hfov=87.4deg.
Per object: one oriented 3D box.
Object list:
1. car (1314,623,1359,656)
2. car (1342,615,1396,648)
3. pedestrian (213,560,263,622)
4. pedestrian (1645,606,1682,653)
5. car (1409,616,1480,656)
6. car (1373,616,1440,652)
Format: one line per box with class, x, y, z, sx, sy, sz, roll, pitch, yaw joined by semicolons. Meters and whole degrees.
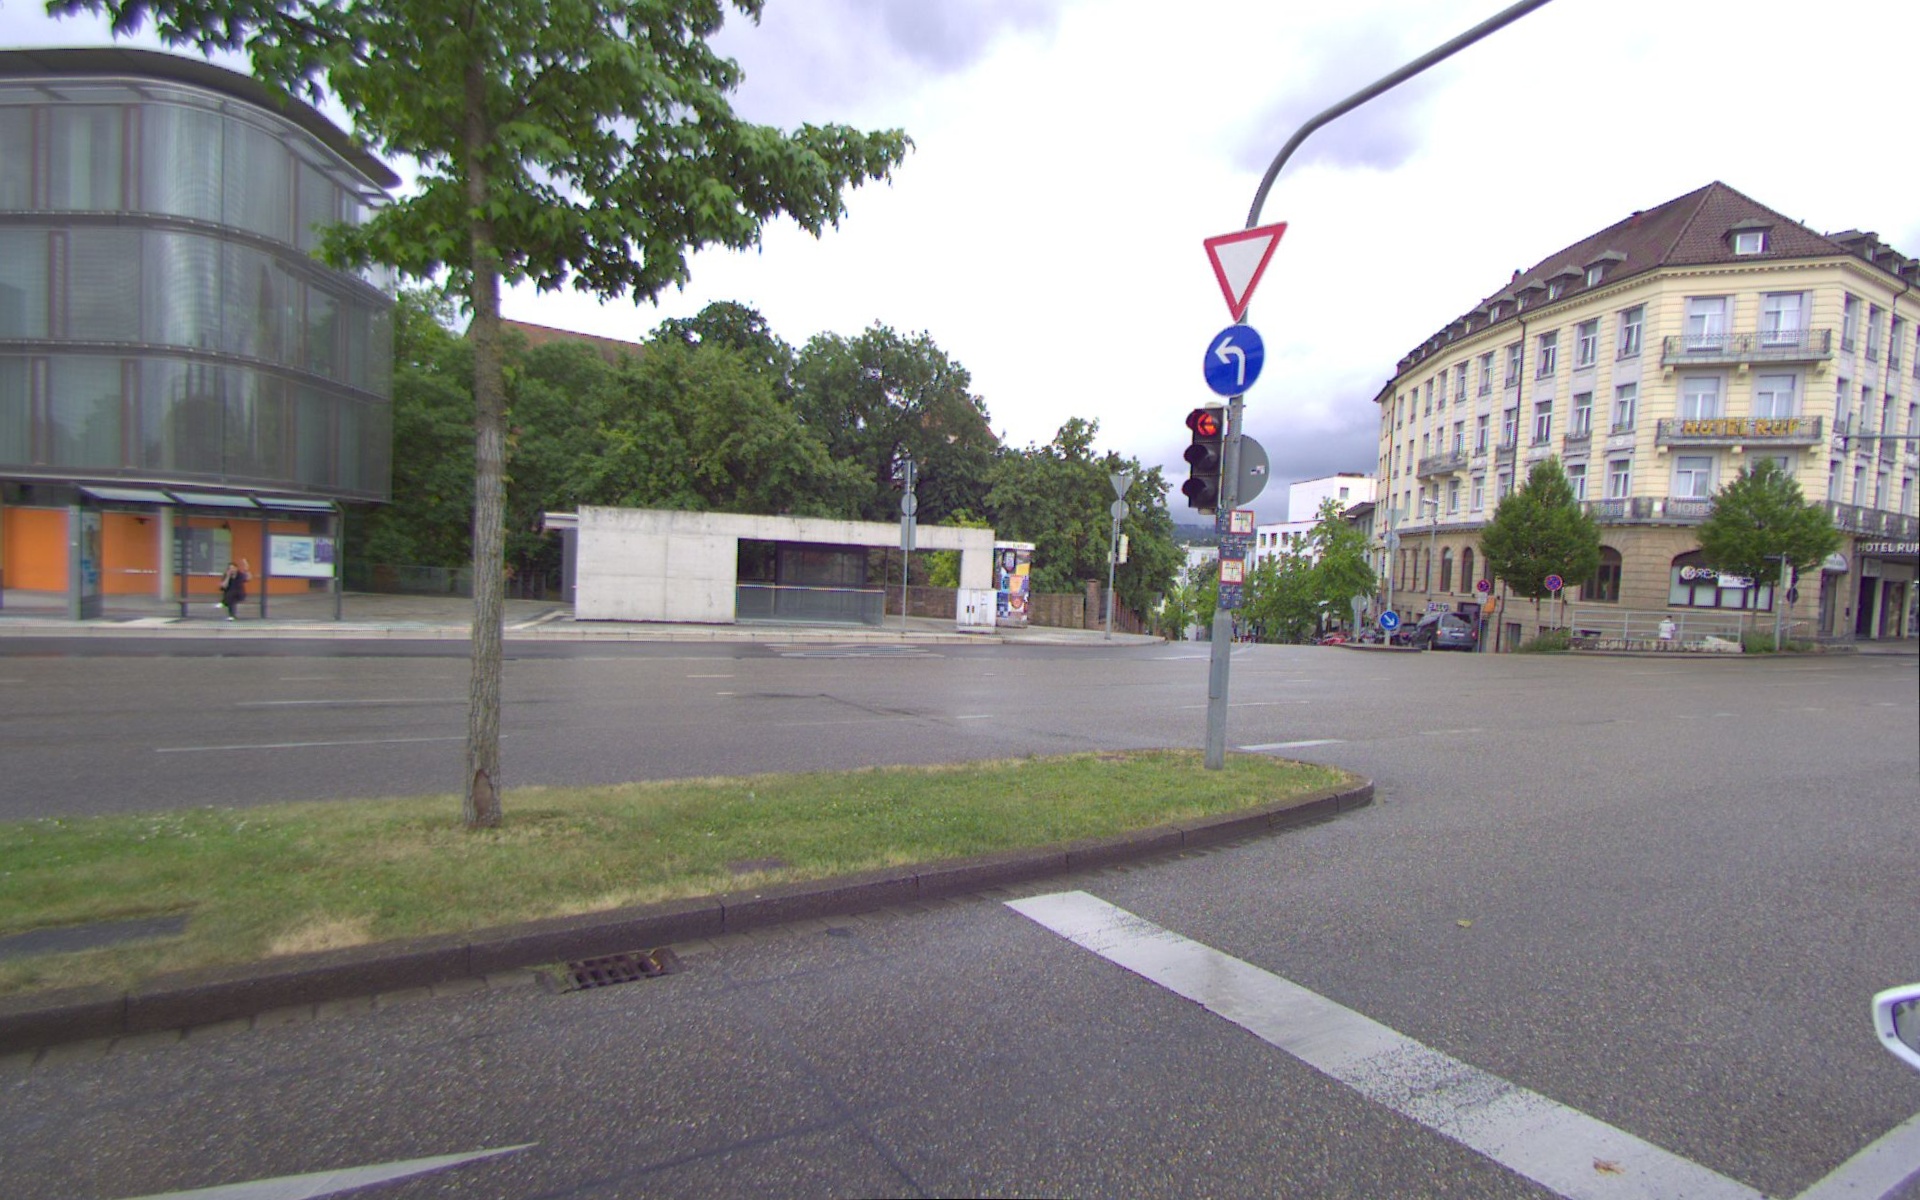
car;23.590;2.476;63.058;1.741;1.836;3.624;2;1;7
car;23.167;1.772;57.004;1.757;1.662;3.916;2;1;6
pedestrian;-16.077;-0.192;22.387;0.780;1.341;0.798;1;1;-28
pedestrian;29.543;1.233;42.174;1.010;1.903;0.859;1;1;-30
car;21.740;1.575;45.198;1.764;1.589;4.002;2;1;9
car;22.913;1.717;51.705;1.959;1.662;4.002;2;0;6
